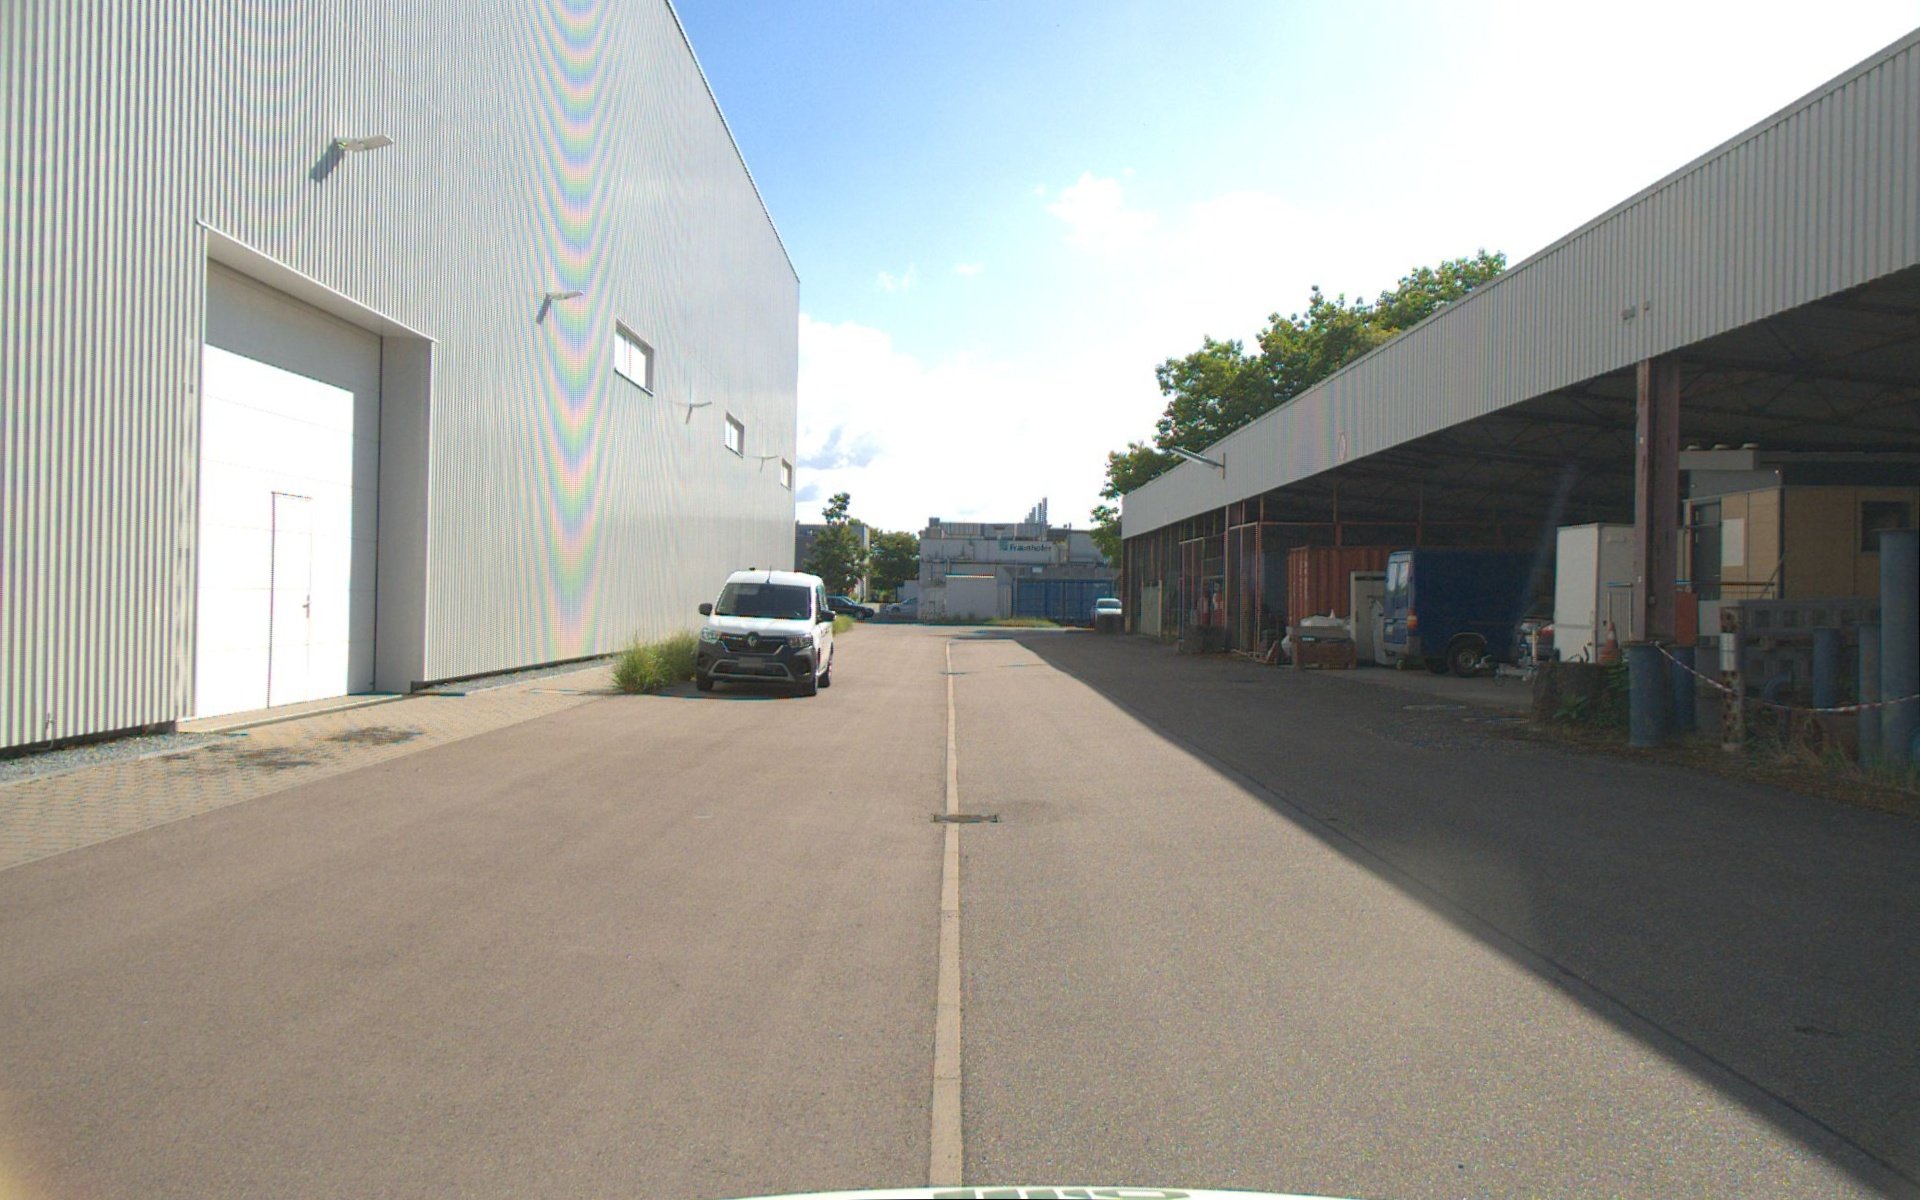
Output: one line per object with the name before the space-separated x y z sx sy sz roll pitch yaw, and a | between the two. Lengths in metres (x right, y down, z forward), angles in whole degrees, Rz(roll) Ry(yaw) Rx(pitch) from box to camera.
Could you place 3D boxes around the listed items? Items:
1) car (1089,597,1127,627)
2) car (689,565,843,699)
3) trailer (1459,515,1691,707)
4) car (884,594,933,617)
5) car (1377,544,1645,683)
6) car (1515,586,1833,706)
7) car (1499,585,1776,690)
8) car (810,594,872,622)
car | 8.512 0.679 95.423 1.921 1.592 4.060 2 1 1
car | -2.894 0.440 25.499 1.781 1.818 4.405 2 0 0
trailer | 8.188 0.156 22.164 2.472 2.441 1.727 1 -1 0
car | -4.213 0.466 135.578 3.906 1.626 1.847 2 -2 -2
car | 10.251 0.282 30.973 4.342 2.350 1.915 2 -2 0
car | 10.477 0.684 24.453 3.955 1.551 1.684 2 -2 0
car | 11.357 0.639 27.887 3.955 1.551 1.684 2 -2 0
car | -7.748 0.512 107.659 3.906 1.626 1.741 2 -2 -2
